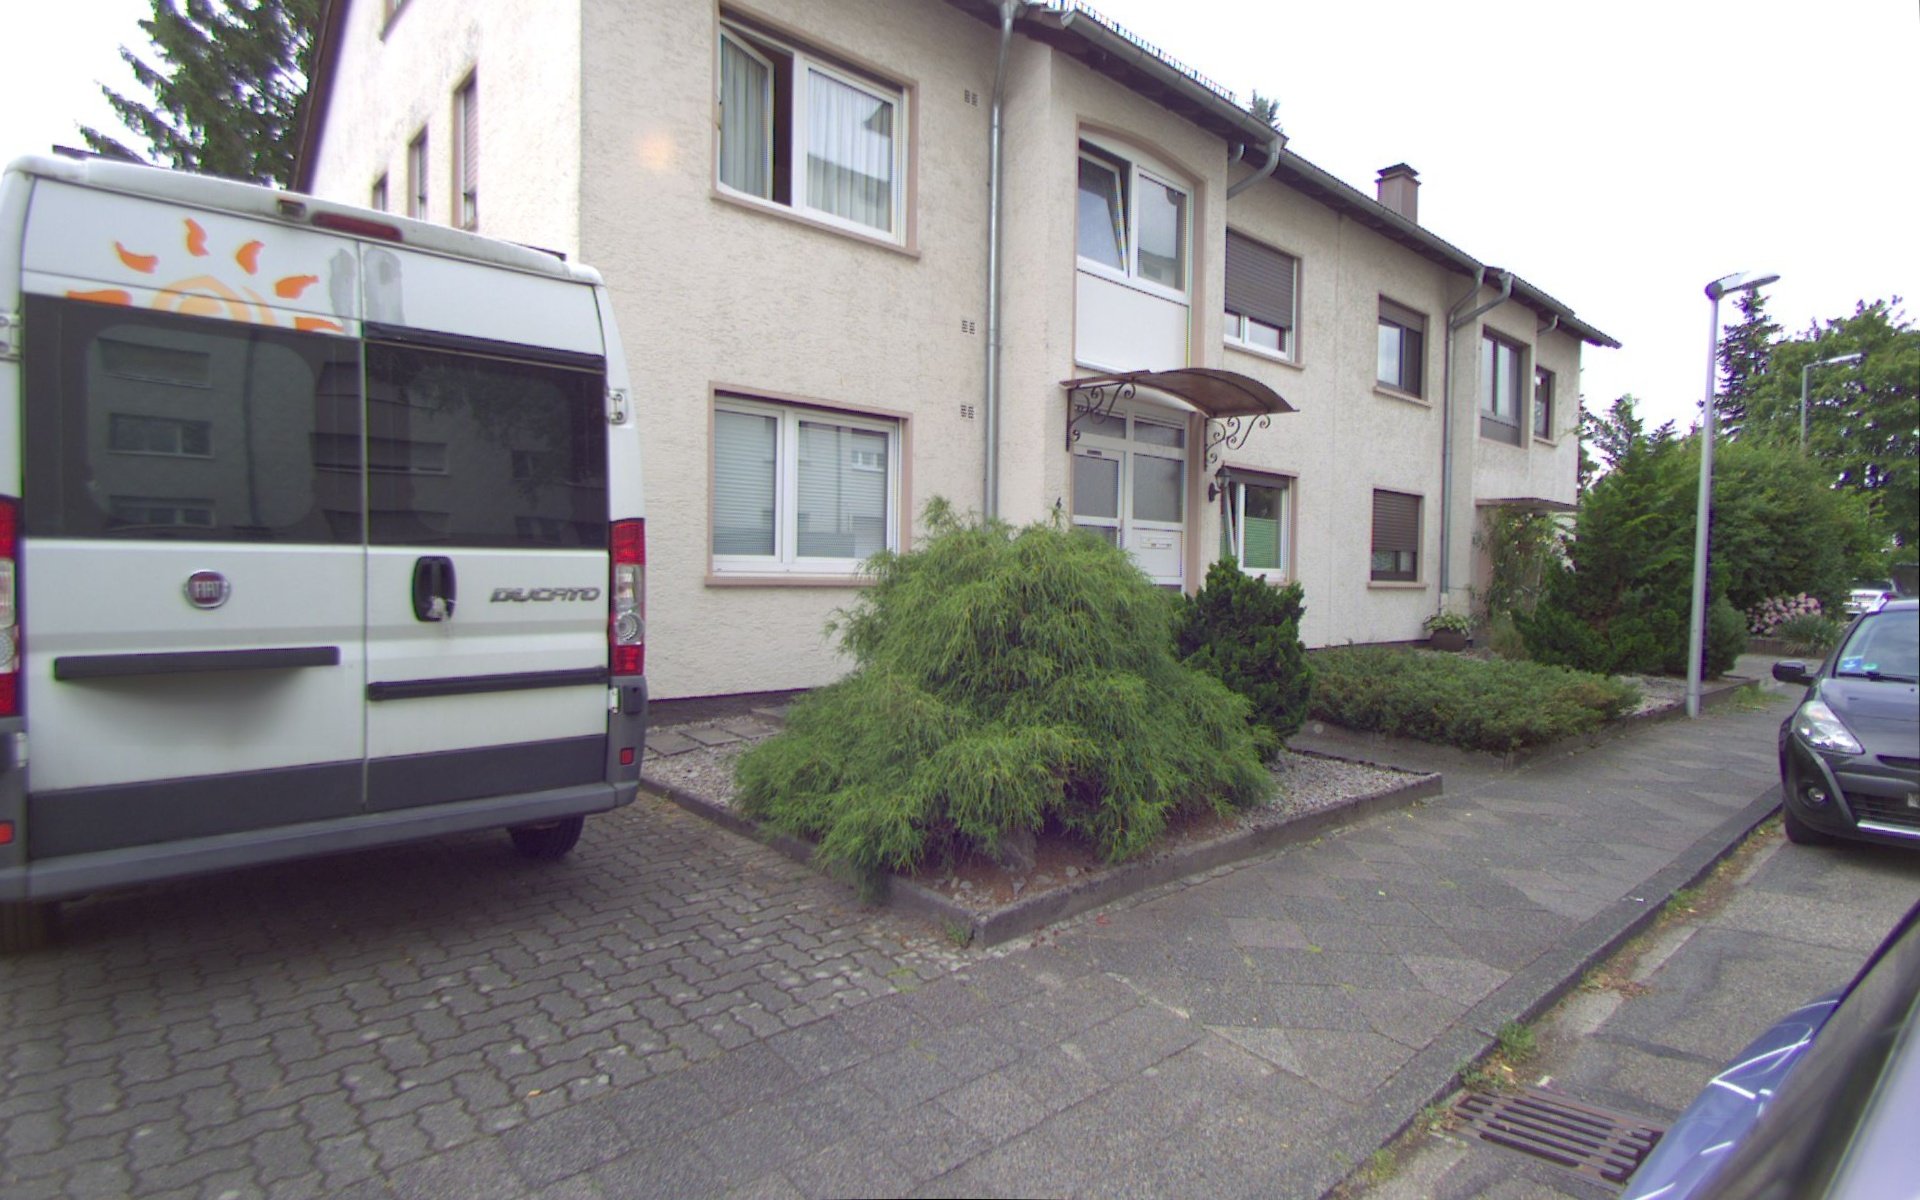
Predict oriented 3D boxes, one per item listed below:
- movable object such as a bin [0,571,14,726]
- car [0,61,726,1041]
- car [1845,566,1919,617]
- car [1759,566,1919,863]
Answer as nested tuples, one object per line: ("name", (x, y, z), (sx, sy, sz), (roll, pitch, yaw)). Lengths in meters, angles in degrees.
("movable object such as a bin", (-7.043, 0.339, 7.132), (0.537, 1.069, 0.456), (-1, 4, -43))
("car", (-3.450, -0.256, 5.243), (2.199, 2.573, 5.098), (0, 3, -41))
("car", (30.390, -0.323, 33.222), (3.936, 1.484, 1.702), (-3, 4, -45))
("car", (6.434, 0.553, 6.271), (4.122, 1.476, 1.831), (-1, 1, -44))
